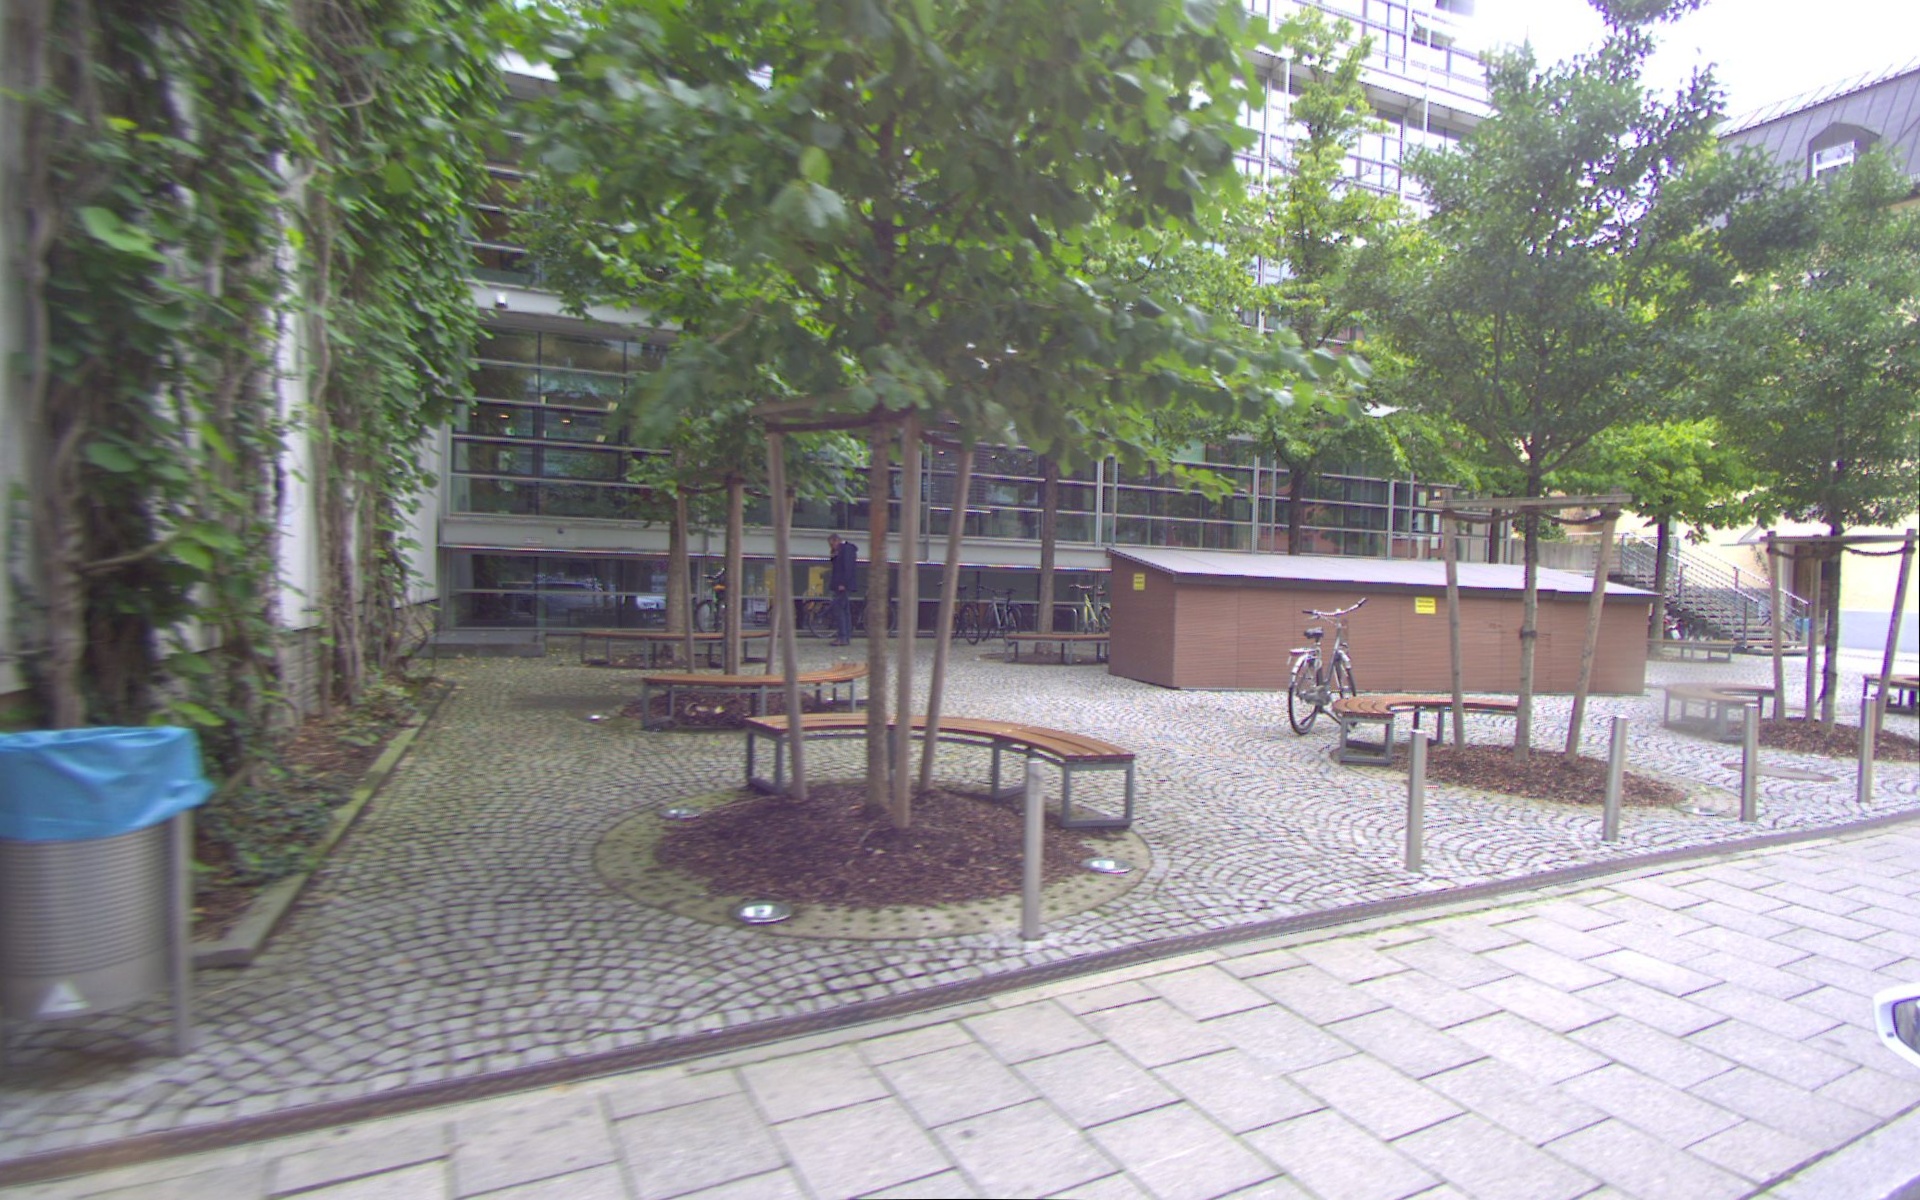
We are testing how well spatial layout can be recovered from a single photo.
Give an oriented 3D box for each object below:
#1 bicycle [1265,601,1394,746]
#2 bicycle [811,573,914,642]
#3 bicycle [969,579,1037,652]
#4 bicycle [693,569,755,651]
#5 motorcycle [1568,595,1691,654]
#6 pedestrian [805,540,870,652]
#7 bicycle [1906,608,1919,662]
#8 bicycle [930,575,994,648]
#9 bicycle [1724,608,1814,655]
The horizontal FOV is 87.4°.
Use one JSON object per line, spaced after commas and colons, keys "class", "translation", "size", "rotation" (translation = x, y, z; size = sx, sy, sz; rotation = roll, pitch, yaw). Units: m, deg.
{"class": "bicycle", "translation": [3.518, 0.627, 9.474], "size": [0.543, 1.214, 1.829], "rotation": [3, 2, 39]}
{"class": "bicycle", "translation": [-1.777, 0.137, 18.272], "size": [1.757, 1.214, 0.549], "rotation": [1, 2, -23]}
{"class": "bicycle", "translation": [0.752, 0.257, 18.223], "size": [0.543, 1.214, 1.773], "rotation": [1, 2, -21]}
{"class": "bicycle", "translation": [-3.823, 0.133, 16.162], "size": [0.680, 1.214, 1.772], "rotation": [1, 2, -22]}
{"class": "motorcycle", "translation": [16.258, 0.567, 24.496], "size": [0.747, 1.261, 2.496], "rotation": [1, 2, -20]}
{"class": "pedestrian", "translation": [-2.032, -0.074, 16.660], "size": [0.910, 1.801, 0.676], "rotation": [1, 2, -19]}
{"class": "bicycle", "translation": [22.445, 0.842, 22.282], "size": [0.561, 1.214, 2.040], "rotation": [1, 2, -21]}
{"class": "bicycle", "translation": [0.010, 0.177, 18.089], "size": [0.543, 1.214, 1.773], "rotation": [1, 2, -21]}
{"class": "bicycle", "translation": [20.488, 0.782, 25.464], "size": [0.589, 1.083, 1.651], "rotation": [1, 2, -24]}
